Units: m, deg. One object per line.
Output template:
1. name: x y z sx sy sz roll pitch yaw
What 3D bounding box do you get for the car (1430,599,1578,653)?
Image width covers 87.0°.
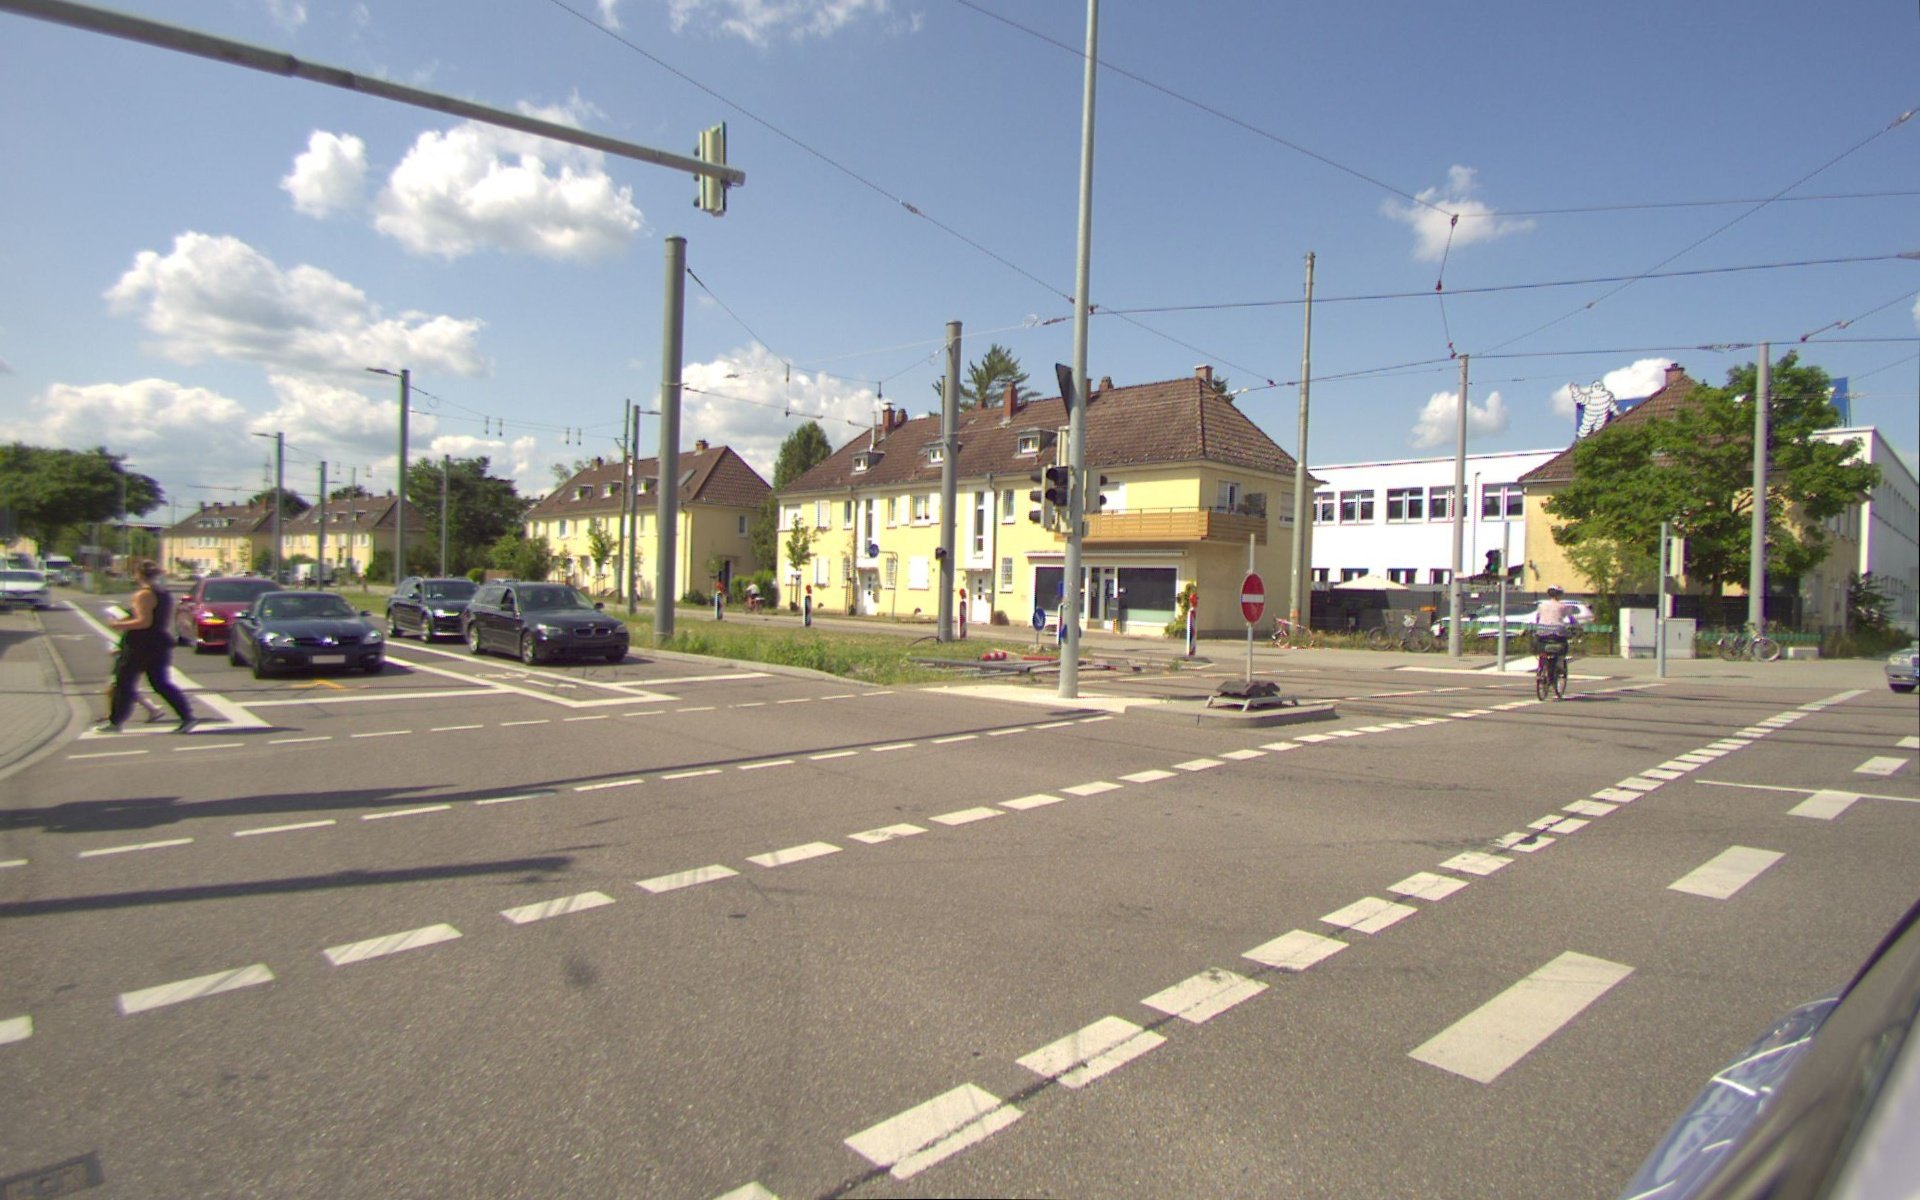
1. car: 18.373 0.843 34.282 4.106 1.617 1.772 1 0 44

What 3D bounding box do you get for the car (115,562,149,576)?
1. car: -109.100 -4.062 133.355 3.959 1.746 1.982 0 0 26

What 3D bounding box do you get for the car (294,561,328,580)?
1. car: -63.602 -2.895 99.171 3.986 1.746 1.969 0 0 43

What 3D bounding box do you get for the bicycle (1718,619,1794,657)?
1. bicycle: 22.083 1.043 28.086 1.722 1.031 0.463 0 0 0

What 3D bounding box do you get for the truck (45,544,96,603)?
1. truck: -61.612 -1.718 70.031 2.469 3.874 7.625 0 0 -43

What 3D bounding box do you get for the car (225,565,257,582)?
1. car: -79.584 -2.924 111.955 3.982 1.746 1.971 0 0 41

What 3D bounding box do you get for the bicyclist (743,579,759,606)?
1. bicyclist: -10.016 -0.371 48.407 0.501 1.249 0.577 0 1 -45

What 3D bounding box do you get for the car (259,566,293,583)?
1. car: -70.917 -2.615 104.961 3.982 1.746 1.971 0 0 41

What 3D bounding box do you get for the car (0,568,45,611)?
1. car: -34.895 -0.370 37.290 1.710 1.492 4.319 0 0 -43

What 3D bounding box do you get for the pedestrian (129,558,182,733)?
1. pedestrian: -7.890 0.430 9.927 0.394 1.664 0.548 0 -1 -39

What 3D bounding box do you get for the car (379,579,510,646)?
1. car: -12.563 0.240 24.536 1.710 1.345 4.321 0 2 -43

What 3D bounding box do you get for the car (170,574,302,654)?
1. car: -15.234 0.257 21.205 1.710 1.492 4.319 0 0 -43

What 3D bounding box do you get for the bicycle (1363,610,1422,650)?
1. bicycle: 12.590 0.862 29.510 1.555 1.152 0.378 0 0 22

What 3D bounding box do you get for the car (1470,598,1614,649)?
1. car: 20.547 0.788 35.826 4.106 1.617 1.772 1 0 44

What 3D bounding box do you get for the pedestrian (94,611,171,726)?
1. pedestrian: -8.588 0.695 10.508 0.383 1.150 0.487 0 0 16

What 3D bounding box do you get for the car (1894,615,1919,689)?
1. car: 20.476 1.035 19.743 4.370 1.415 1.729 1 -1 -24

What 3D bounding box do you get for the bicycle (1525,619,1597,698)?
1. bicycle: 9.346 0.872 15.712 0.650 1.132 1.563 0 0 42

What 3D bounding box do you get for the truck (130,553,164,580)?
1. truck: -105.045 -4.275 130.743 5.300 3.267 1.975 0 0 35

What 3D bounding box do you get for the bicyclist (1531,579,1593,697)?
1. bicyclist: 9.357 0.569 15.721 0.650 1.760 0.969 -1 -1 43

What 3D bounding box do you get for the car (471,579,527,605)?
1. car: -28.430 -0.502 62.416 4.003 1.421 1.708 2 -2 44

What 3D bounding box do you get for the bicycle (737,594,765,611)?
1. bicycle: -10.001 0.109 48.389 0.497 0.791 1.580 0 1 -45

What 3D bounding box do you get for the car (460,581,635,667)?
1. car: -8.035 0.377 19.496 1.710 1.345 4.321 0 2 -43

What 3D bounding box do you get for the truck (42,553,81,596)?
1. truck: -78.600 -2.139 88.492 2.340 3.582 8.512 0 0 -43

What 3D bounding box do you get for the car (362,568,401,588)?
1. car: -52.372 -1.985 91.578 3.986 1.746 1.969 0 0 43

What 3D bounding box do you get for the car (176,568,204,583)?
1. car: -93.654 -2.923 123.105 3.982 1.746 1.971 0 0 41

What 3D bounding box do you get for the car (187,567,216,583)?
1. car: -89.537 -2.924 119.426 3.982 1.746 1.971 0 0 41

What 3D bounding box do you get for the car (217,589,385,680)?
1. car: -11.101 0.502 16.918 1.710 1.325 4.321 0 0 -42
